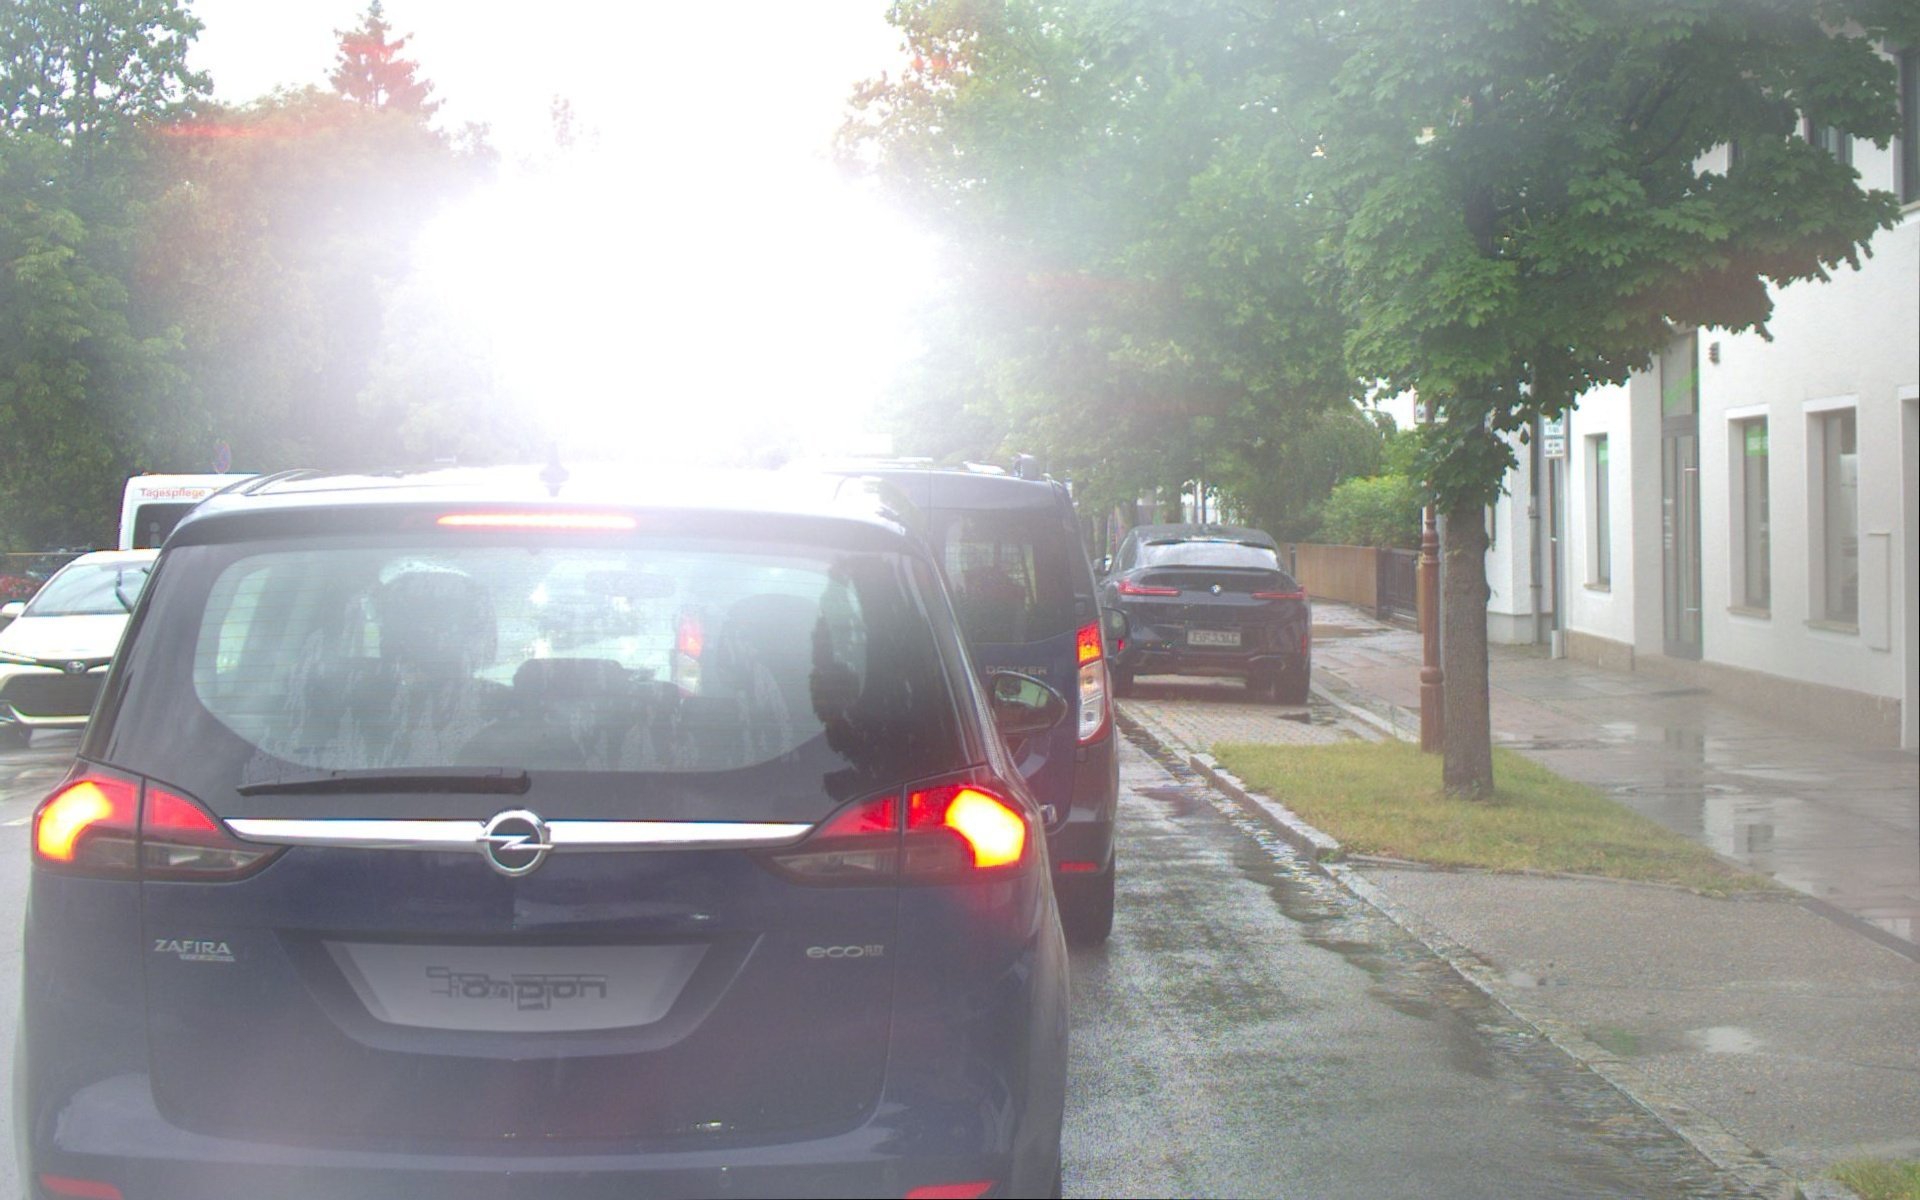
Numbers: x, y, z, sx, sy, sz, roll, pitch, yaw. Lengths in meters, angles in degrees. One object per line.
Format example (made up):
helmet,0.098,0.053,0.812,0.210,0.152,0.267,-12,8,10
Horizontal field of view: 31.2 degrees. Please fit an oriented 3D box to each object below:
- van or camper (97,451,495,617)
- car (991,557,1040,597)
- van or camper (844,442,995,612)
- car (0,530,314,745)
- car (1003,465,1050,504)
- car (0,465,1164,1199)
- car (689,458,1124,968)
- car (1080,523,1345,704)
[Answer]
van or camper,-11.122,-1.113,57.892,6.248,2.698,2.101,-1,1,1
car,1.947,-0.830,121.410,1.630,1.373,3.623,1,0,-1
van or camper,-0.676,-1.212,57.116,2.360,2.656,5.372,-1,1,-1
car,-6.375,0.235,26.961,1.752,1.506,4.230,-2,1,0
car,2.502,-4.375,130.878,1.630,1.373,3.623,-1,1,-1
car,-0.603,0.566,7.047,1.768,1.599,3.663,0,1,-1
car,-0.207,0.368,13.639,1.500,1.770,3.112,1,1,-1
car,2.327,0.090,32.723,2.117,1.575,3.936,1,1,-1
